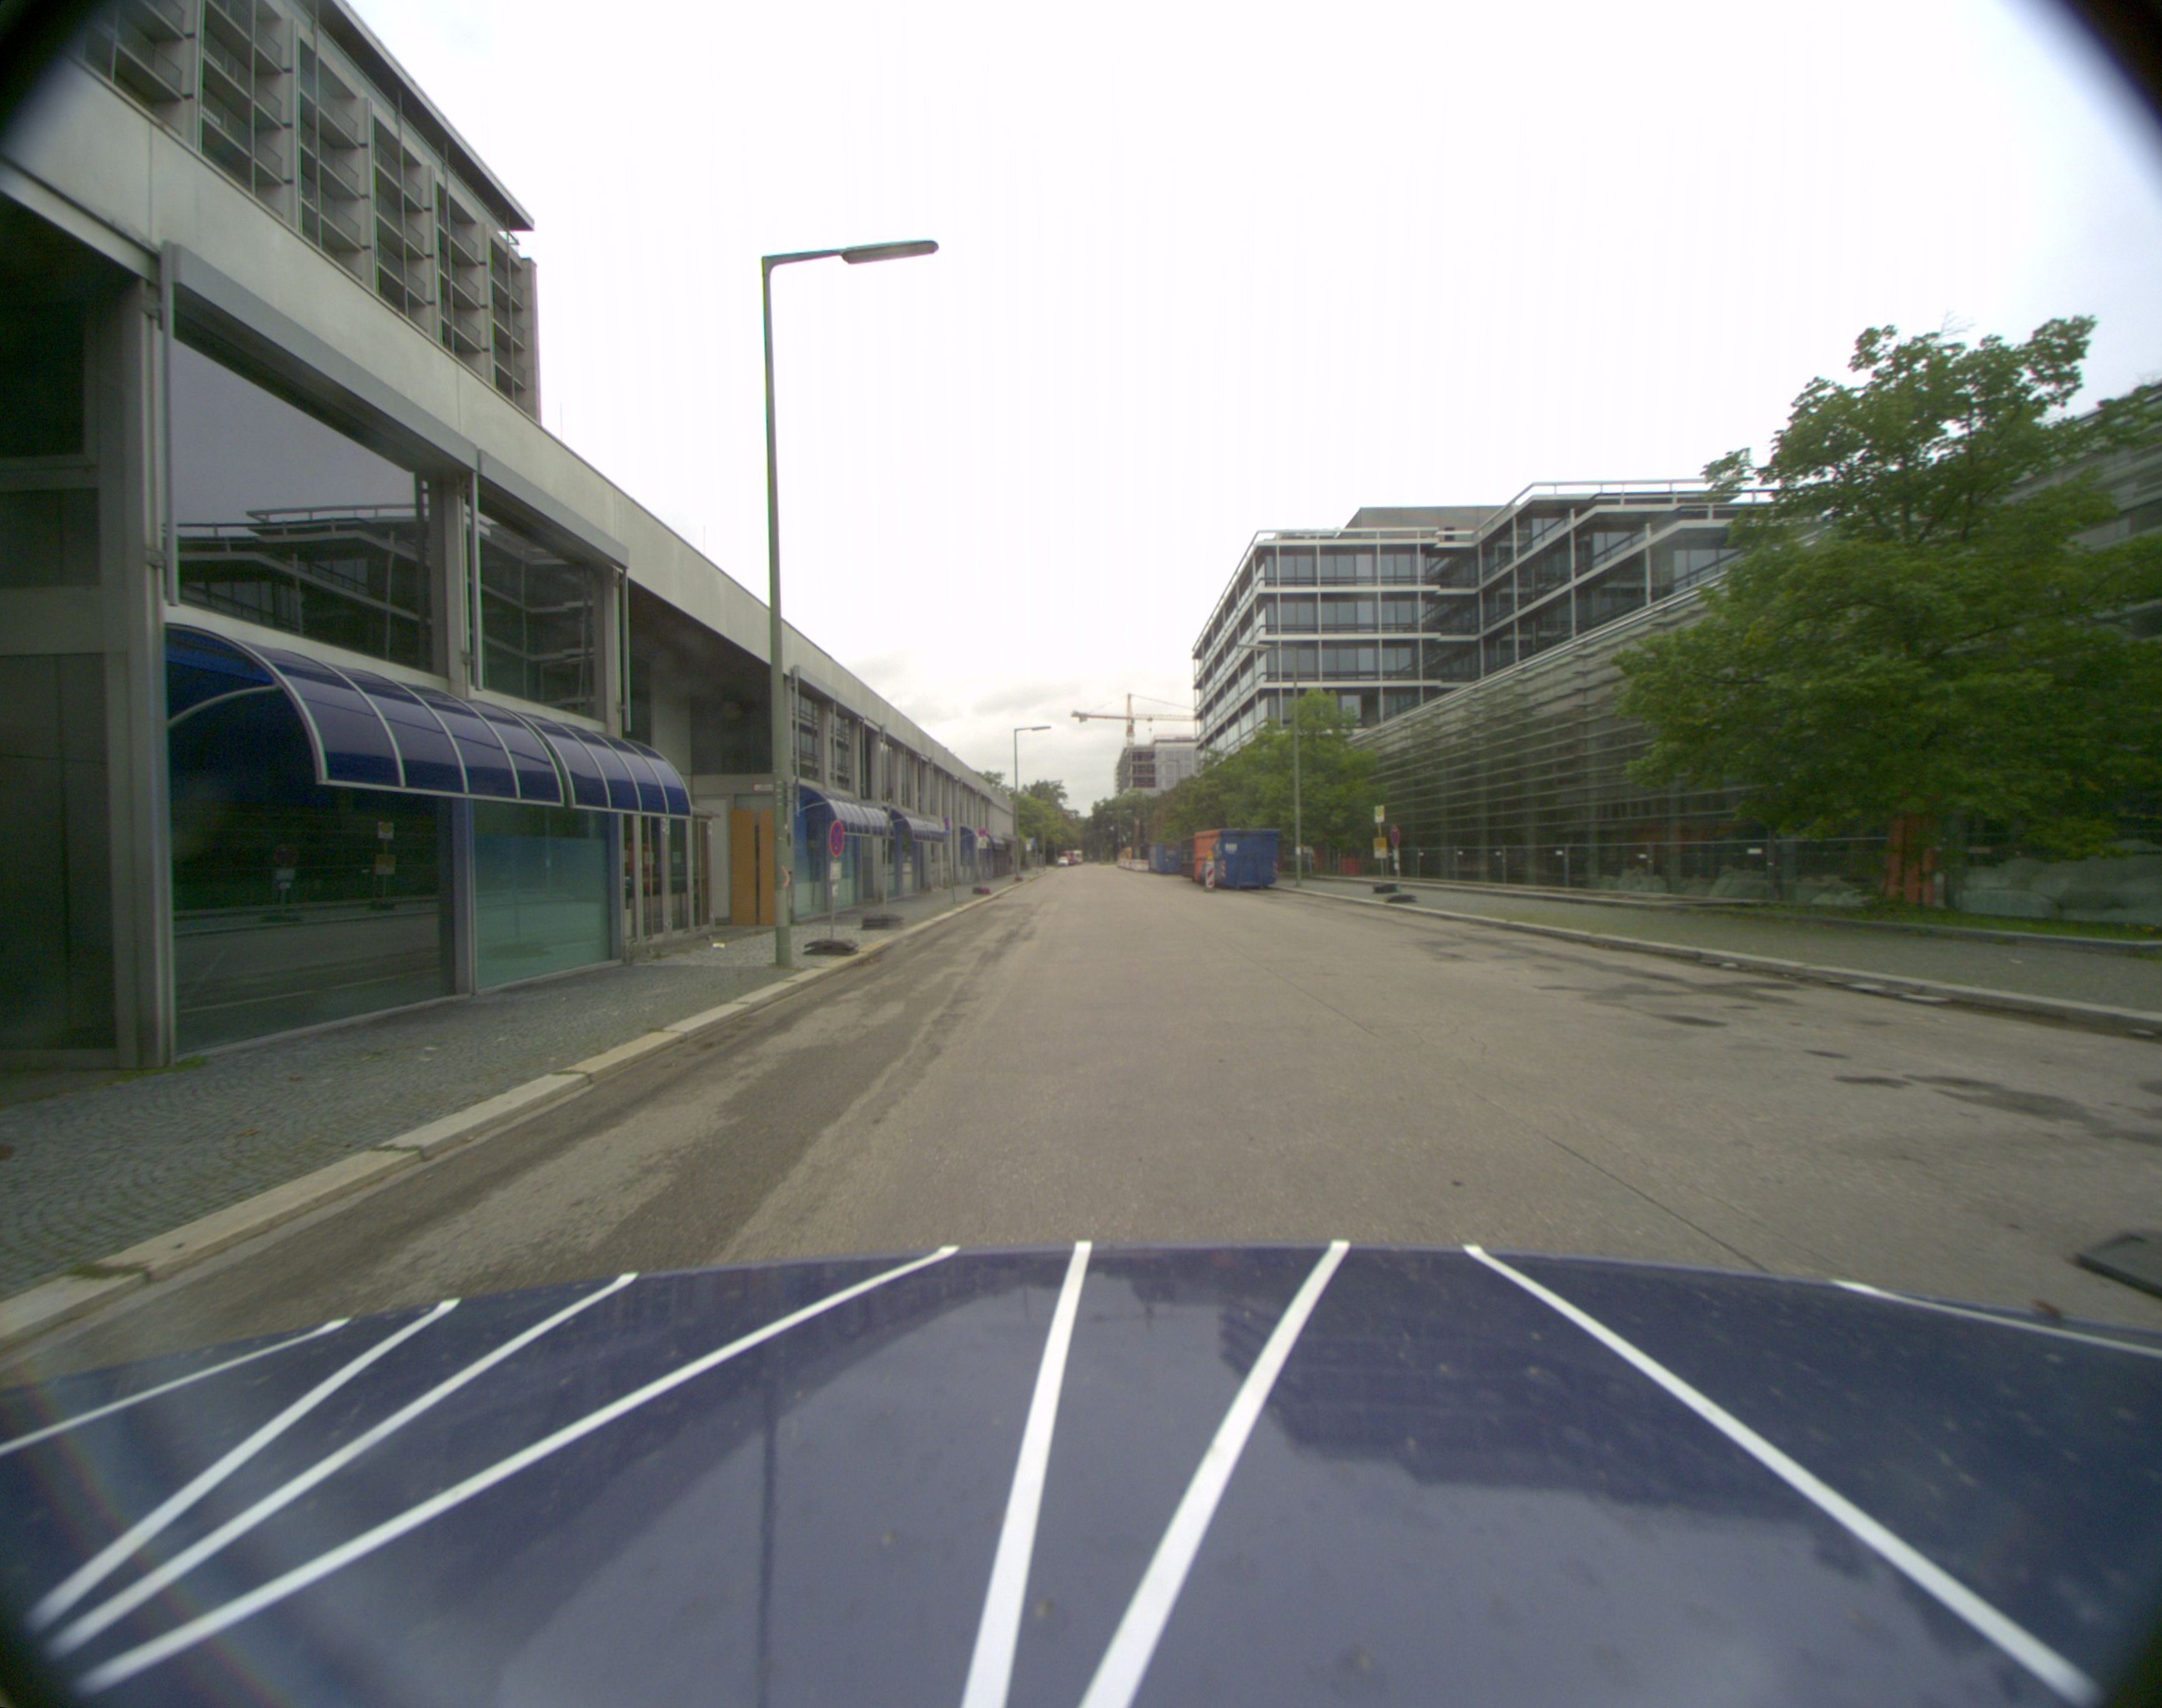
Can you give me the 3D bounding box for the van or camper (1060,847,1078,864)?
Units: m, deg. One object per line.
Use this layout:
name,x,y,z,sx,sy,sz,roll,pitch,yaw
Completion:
van or camper,-2.014,0.218,130.920,2.666,2.751,6.916,-1,0,3

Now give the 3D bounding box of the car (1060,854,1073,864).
car,-2.420,0.809,124.649,1.912,1.627,4.000,-1,0,2

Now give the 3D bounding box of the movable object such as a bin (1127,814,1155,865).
movable object such as a bin,7.691,-1.855,98.628,3.241,6.285,8.337,-1,0,3

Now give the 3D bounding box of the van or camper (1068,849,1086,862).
van or camper,-0.750,0.277,145.220,2.666,2.436,6.448,-1,0,6
